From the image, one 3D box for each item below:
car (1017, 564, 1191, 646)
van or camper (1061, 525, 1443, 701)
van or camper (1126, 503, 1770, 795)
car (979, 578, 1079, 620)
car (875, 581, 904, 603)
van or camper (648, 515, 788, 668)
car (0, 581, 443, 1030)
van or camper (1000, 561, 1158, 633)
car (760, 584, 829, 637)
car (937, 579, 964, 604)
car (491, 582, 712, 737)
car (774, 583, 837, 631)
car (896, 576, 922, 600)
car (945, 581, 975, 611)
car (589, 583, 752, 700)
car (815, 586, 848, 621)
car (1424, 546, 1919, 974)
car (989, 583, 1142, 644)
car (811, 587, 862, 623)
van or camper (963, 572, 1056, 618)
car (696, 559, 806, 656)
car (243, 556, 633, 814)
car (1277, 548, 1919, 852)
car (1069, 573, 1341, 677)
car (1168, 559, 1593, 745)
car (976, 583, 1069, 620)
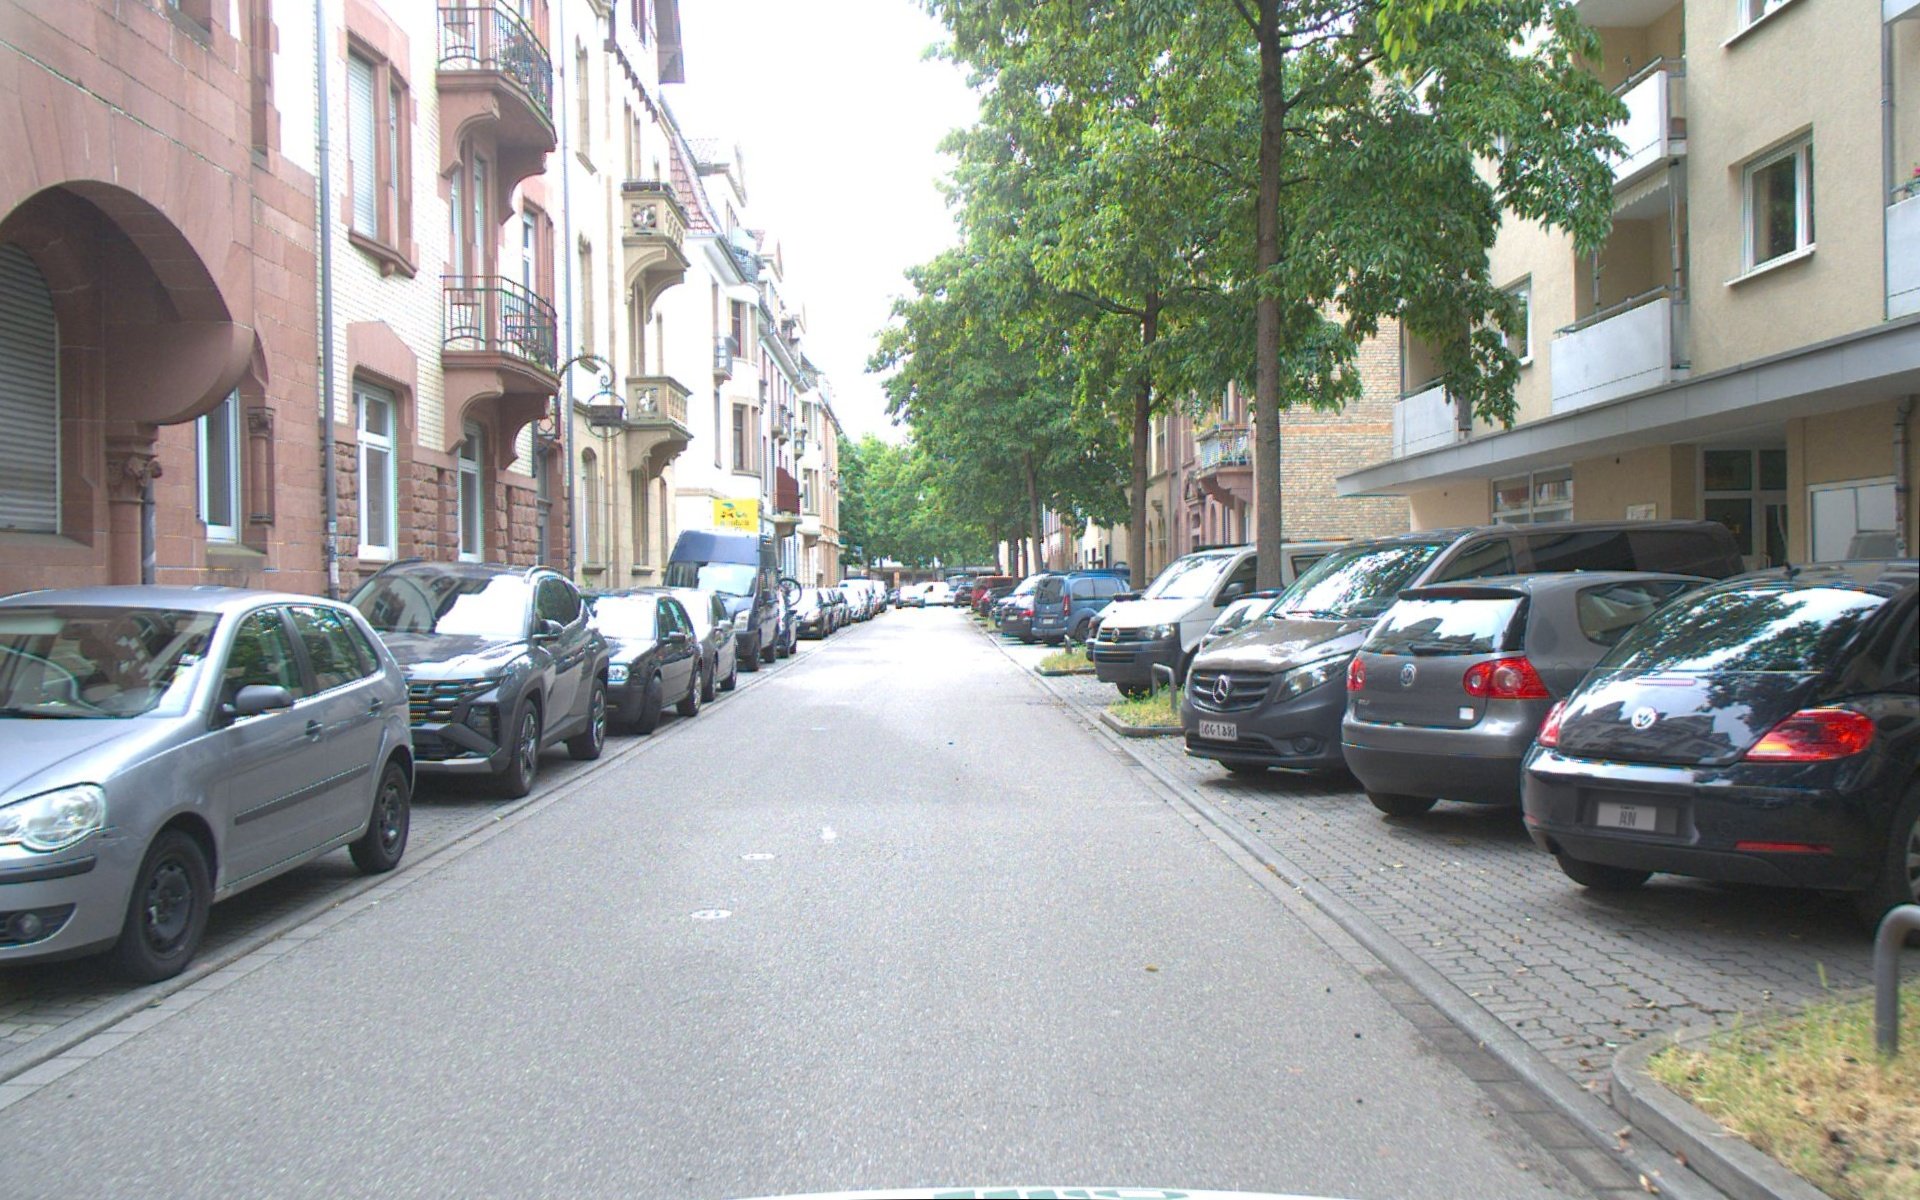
[{"bbox_3d":[3.802,0.130,43.515,4.130,1.902,1.979,-3,0,-31],"label":"car"},{"bbox_3d":[3.896,0.155,21.980,4.673,2.028,1.983,-3,-1,-27],"label":"van or camper"},{"bbox_3d":[4.004,0.282,13.377,4.951,1.902,2.107,-3,0,-29],"label":"van or camper"},{"bbox_3d":[2.720,-0.044,65.450,3.689,1.490,1.727,-2,0,-7],"label":"car"},{"bbox_3d":[-4.509,-0.505,106.457,1.749,1.398,3.887,-1,0,-1],"label":"car"},{"bbox_3d":[-4.549,-0.171,31.872,1.967,2.698,5.315,0,0,-1],"label":"van or camper"},{"bbox_3d":[-3.691,0.645,7.320,1.629,1.445,3.928,1,1,-1],"label":"car"},{"bbox_3d":[3.801,-0.118,52.523,4.729,2.175,2.033,-1,0,-32],"label":"van or camper"},{"bbox_3d":[-4.884,0.287,49.259,1.753,1.506,4.021,0,0,-2],"label":"car"},{"bbox_3d":[-0.758,-0.605,124.797,1.953,1.825,3.999,1,-1,-1],"label":"car"},{"bbox_3d":[-3.813,0.566,18.211,1.601,1.498,3.999,1,0,-1],"label":"car"},{"bbox_3d":[-5.094,0.210,55.020,1.792,1.451,3.800,2,0,-2],"label":"car"},{"bbox_3d":[-3.634,-0.831,118.347,1.784,1.673,3.752,1,-1,-2],"label":"car"},{"bbox_3d":[-0.008,-0.292,116.718,1.953,2.049,3.999,2,0,-2],"label":"car"},{"bbox_3d":[-3.999,0.556,23.414,1.634,1.499,3.999,1,-1,-1],"label":"car"},{"bbox_3d":[-5.018,0.137,64.956,1.113,1.332,3.259,-1,0,-2],"label":"car"},{"bbox_3d":[4.355,0.515,7.693,3.993,1.509,1.930,-2,0,-28],"label":"car"},{"bbox_3d":[2.974,0.361,46.326,3.972,1.586,1.864,-1,0,-32],"label":"car"},{"bbox_3d":[-5.376,0.189,72.446,1.953,1.501,3.999,-1,0,-1],"label":"car"},{"bbox_3d":[2.370,-0.263,79.834,4.101,2.122,1.934,-1,0,-29],"label":"van or camper"},{"bbox_3d":[-4.687,0.142,37.797,1.953,2.049,4.890,-1,0,-1],"label":"car"},{"bbox_3d":[-3.840,0.533,12.986,1.750,1.675,4.361,1,1,-1],"label":"car"},{"bbox_3d":[4.117,0.513,10.540,3.810,1.528,1.893,-2,0,-31],"label":"car"},{"bbox_3d":[4.101,0.387,27.532,4.261,1.417,1.902,-4,1,-33],"label":"car"},{"bbox_3d":[4.174,0.442,16.274,3.958,1.469,1.821,-4,1,-33],"label":"car"},{"bbox_3d":[2.629,0.050,70.055,3.689,1.490,1.727,-1,0,-7],"label":"car"}]
